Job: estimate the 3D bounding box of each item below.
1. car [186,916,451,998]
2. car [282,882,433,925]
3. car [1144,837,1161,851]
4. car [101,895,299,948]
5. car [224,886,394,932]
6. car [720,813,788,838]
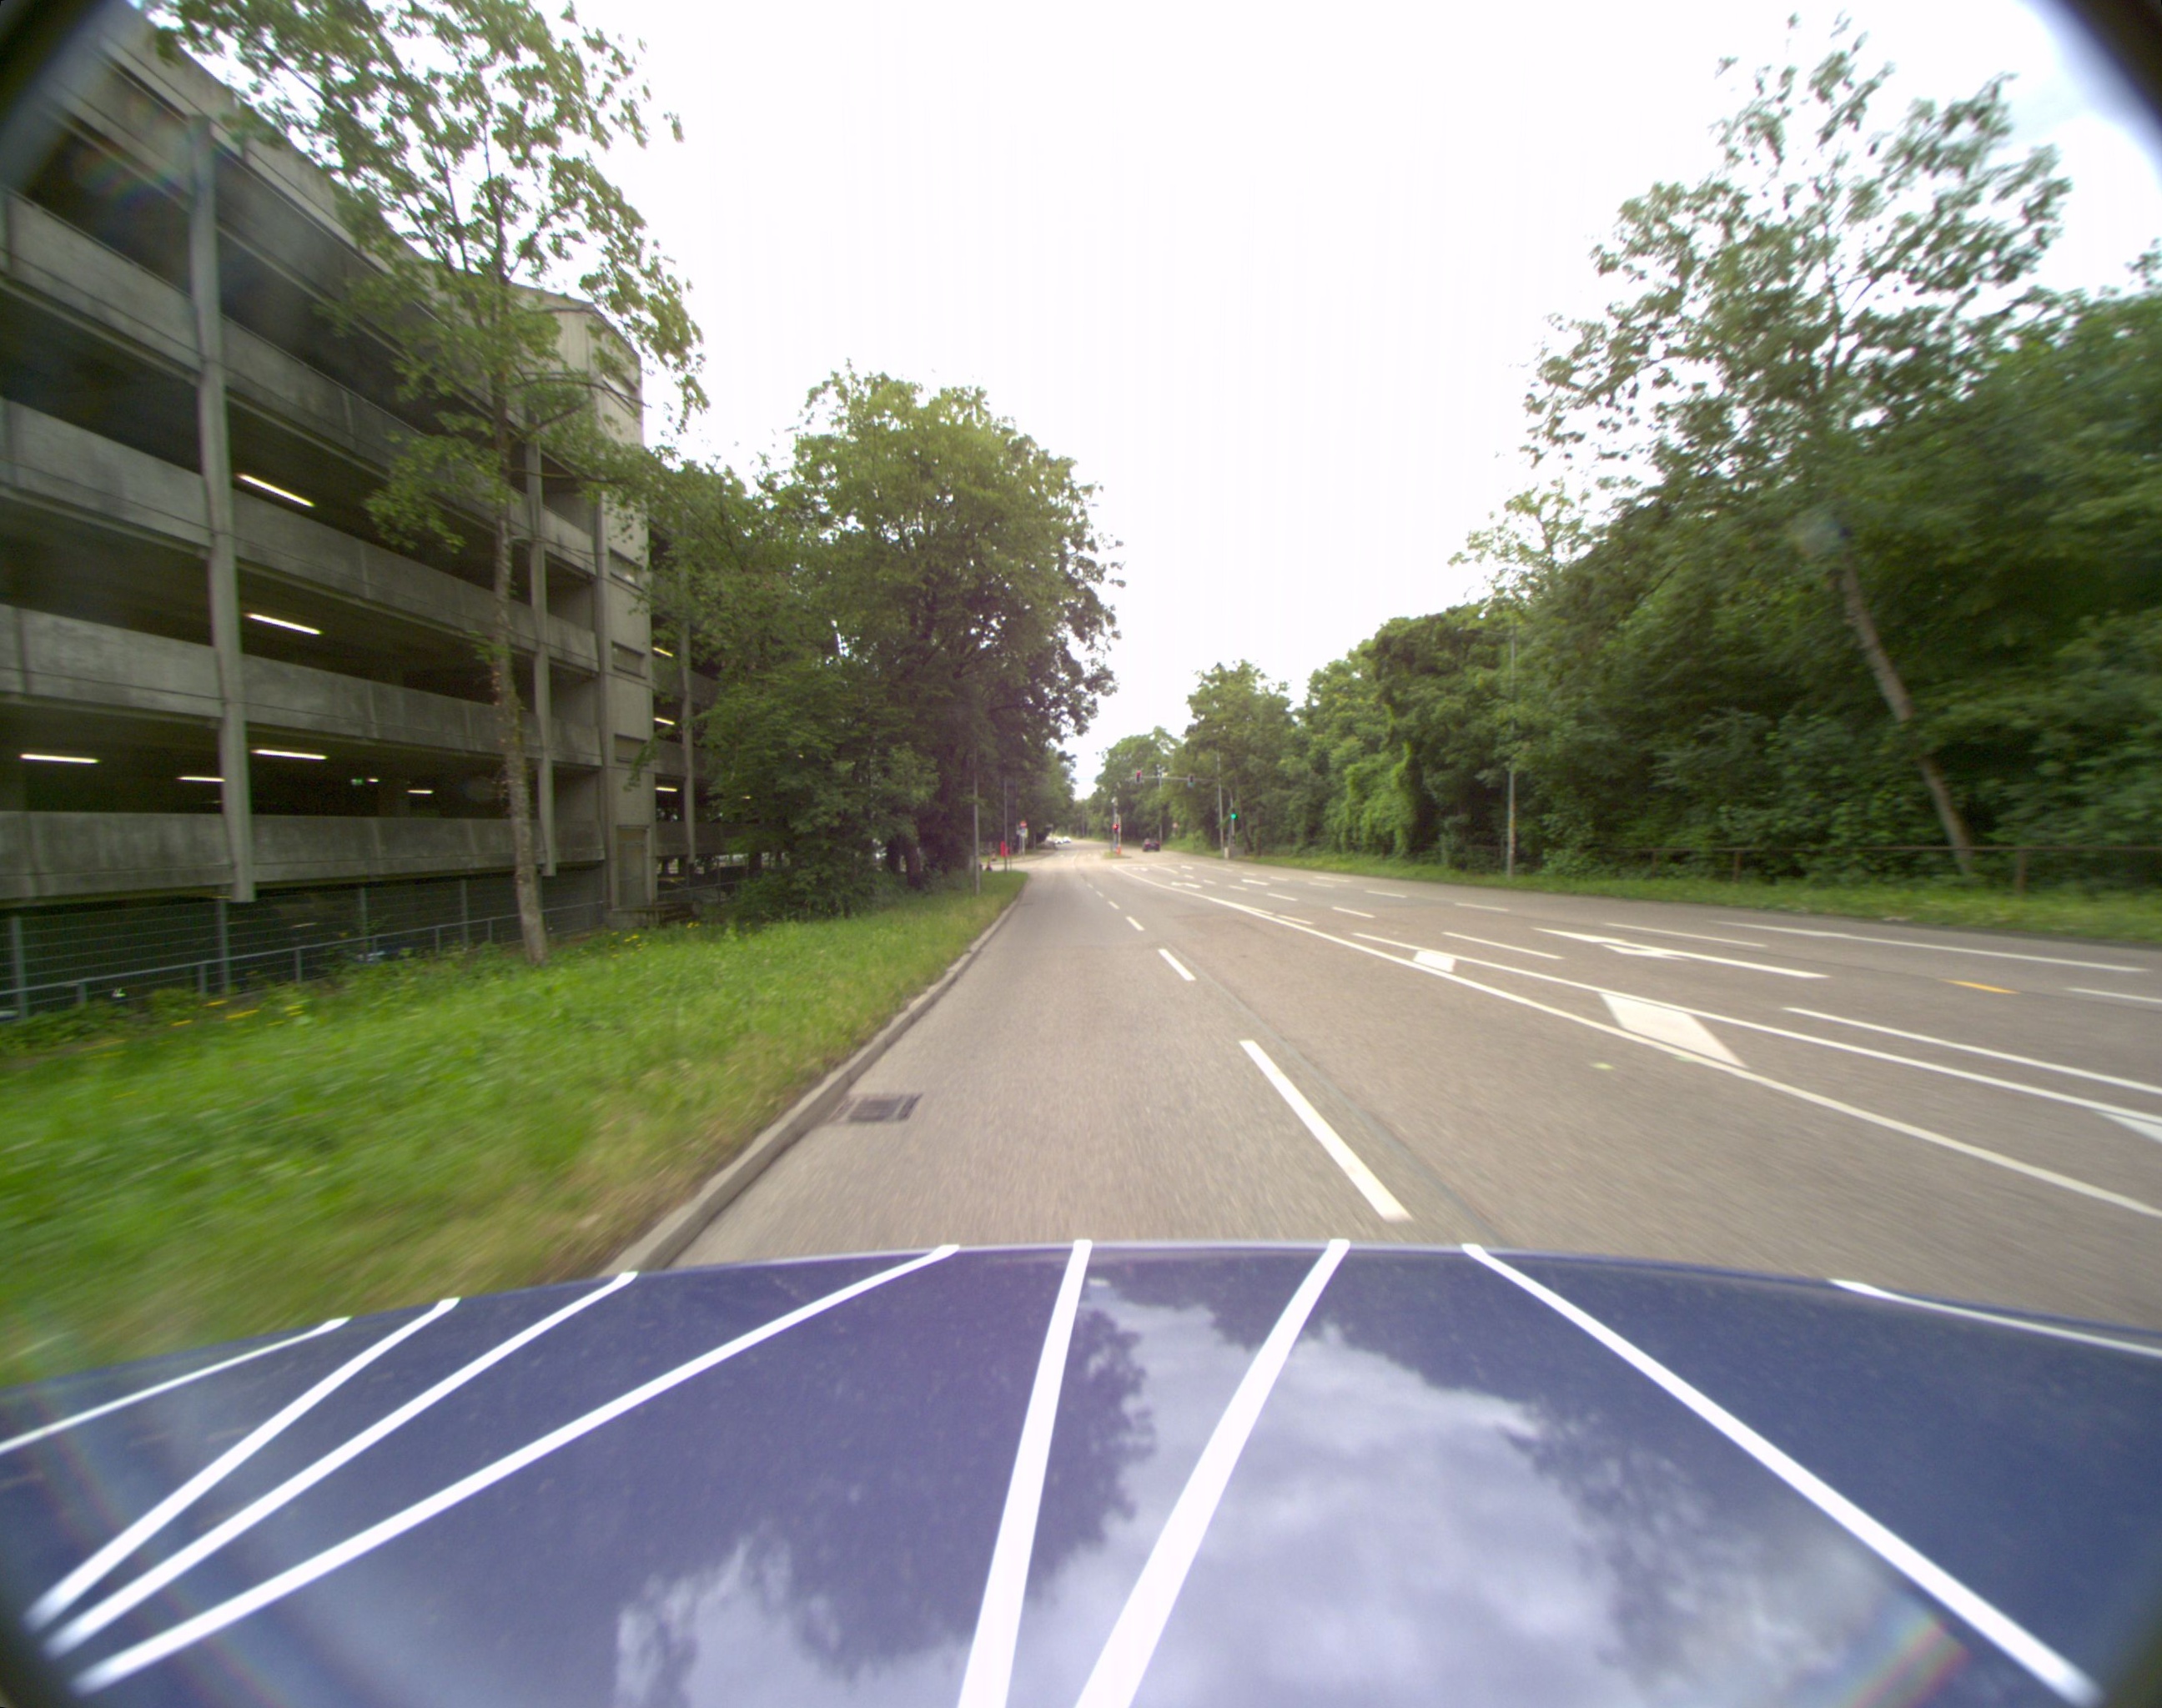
[{"bbox_3d":[-17.019,2.278,17.136,3.997,1.524,1.863,0,1,-2],"label":"car"},{"bbox_3d":[-28.405,1.923,29.923,4.070,1.480,1.825,-1,1,-1],"label":"car"},{"bbox_3d":[9.115,-1.314,96.597,1.826,1.644,4.221,-3,1,2],"label":"car"},{"bbox_3d":[-28.037,2.112,24.284,4.070,1.444,1.825,-1,1,-1],"label":"car"},{"bbox_3d":[-27.418,1.927,27.079,4.070,1.408,1.825,-1,1,-1],"label":"car"},{"bbox_3d":[-16.923,-1.499,39.380,2.895,1.240,1.355,-1,3,0],"label":"car"}]
